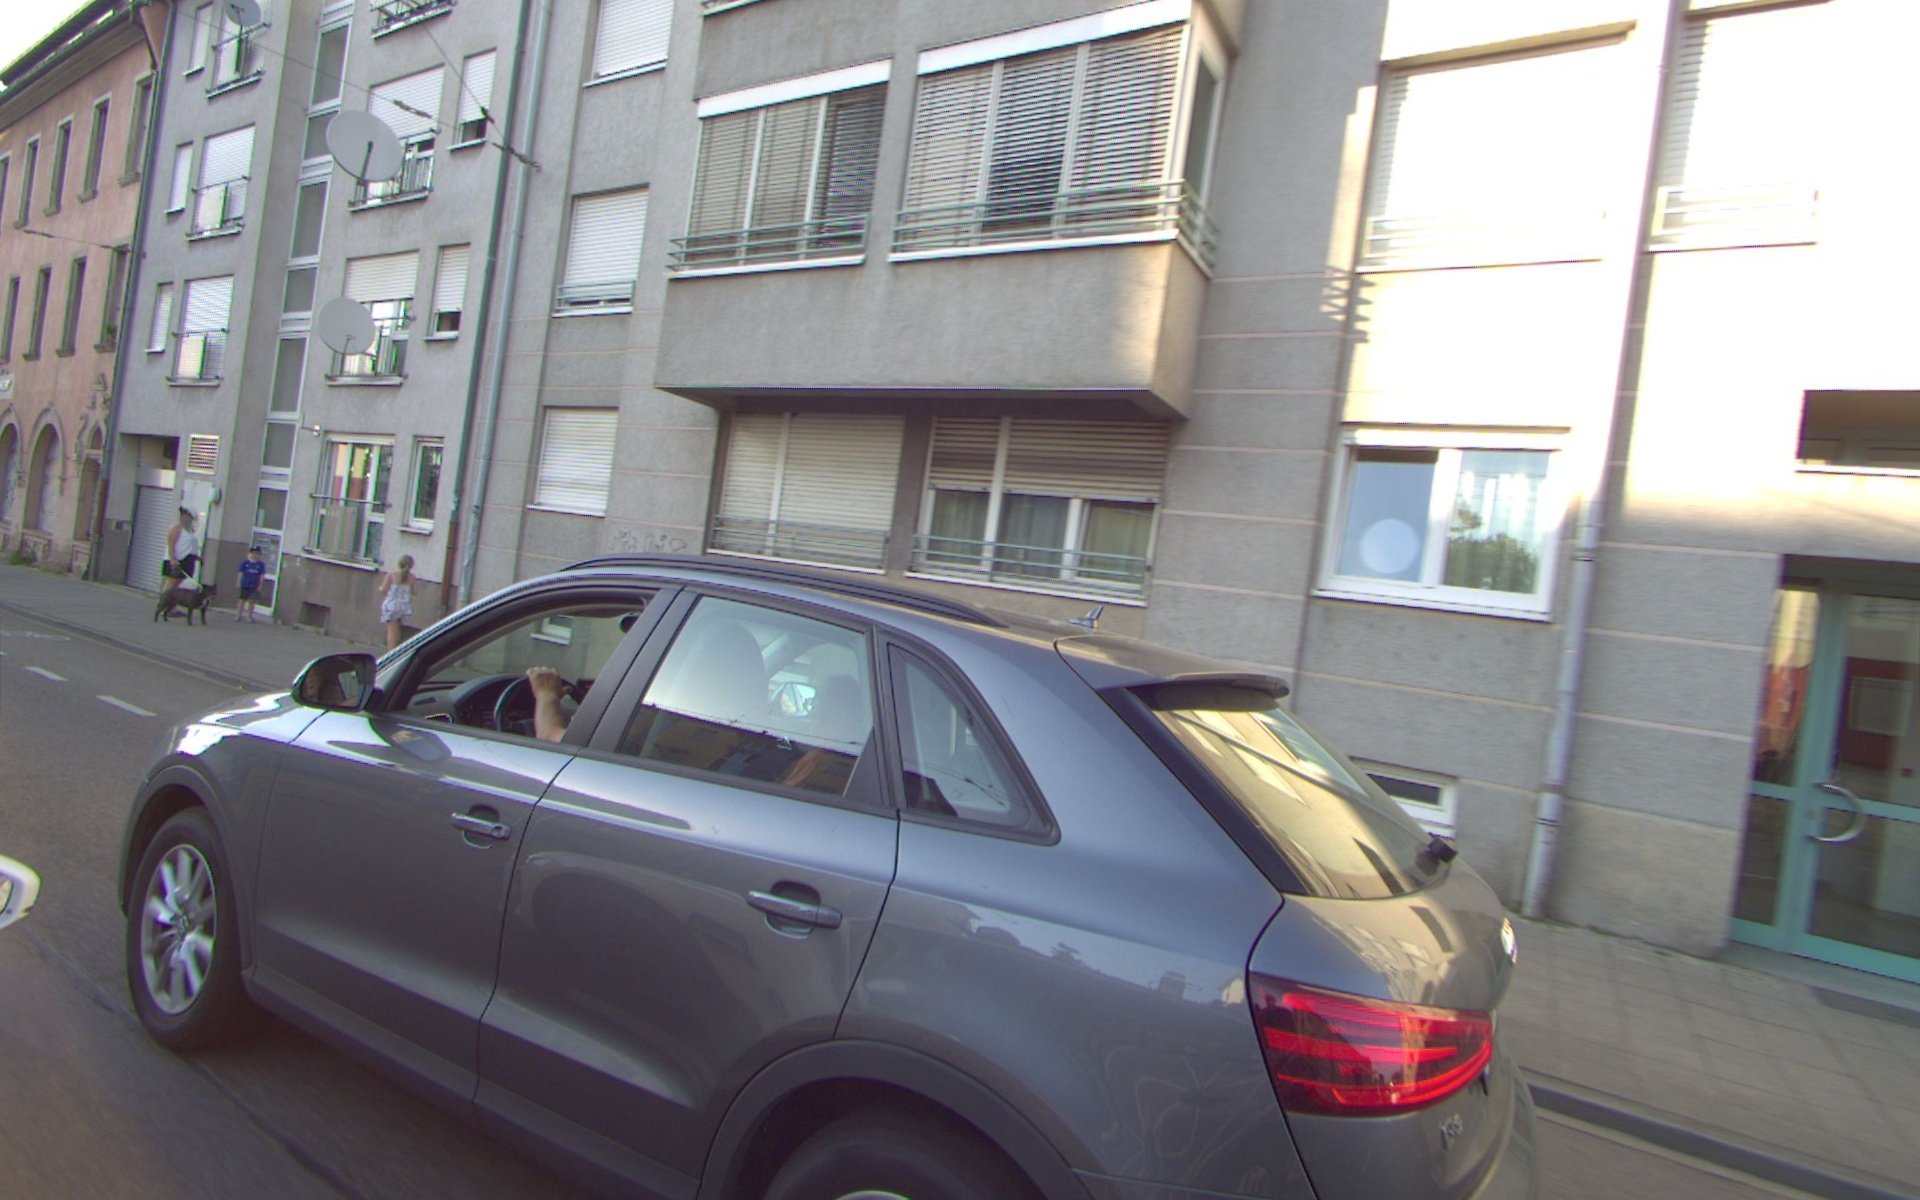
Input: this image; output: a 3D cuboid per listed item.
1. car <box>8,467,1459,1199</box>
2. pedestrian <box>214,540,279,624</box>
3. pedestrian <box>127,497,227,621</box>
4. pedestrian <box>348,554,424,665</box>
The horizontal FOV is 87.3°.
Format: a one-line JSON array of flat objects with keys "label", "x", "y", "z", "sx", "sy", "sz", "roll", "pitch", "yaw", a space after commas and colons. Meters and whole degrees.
[{"label": "car", "x": -0.855, "y": 0.675, "z": 3.047, "sx": 3.998, "sy": 1.606, "sz": 1.770, "roll": 8, "pitch": 0, "yaw": 30}, {"label": "pedestrian", "x": -11.554, "y": -0.289, "z": 16.293, "sx": 0.575, "sy": 1.266, "sz": 0.587, "roll": 8, "pitch": 1, "yaw": 34}, {"label": "pedestrian", "x": -12.273, "y": -0.638, "z": 15.780, "sx": 0.980, "sy": 1.793, "sz": 0.830, "roll": 8, "pitch": 1, "yaw": 34}, {"label": "pedestrian", "x": -7.454, "y": 0.133, "z": 13.062, "sx": 0.599, "sy": 1.361, "sz": 0.515, "roll": 6, "pitch": 0, "yaw": 30}]
